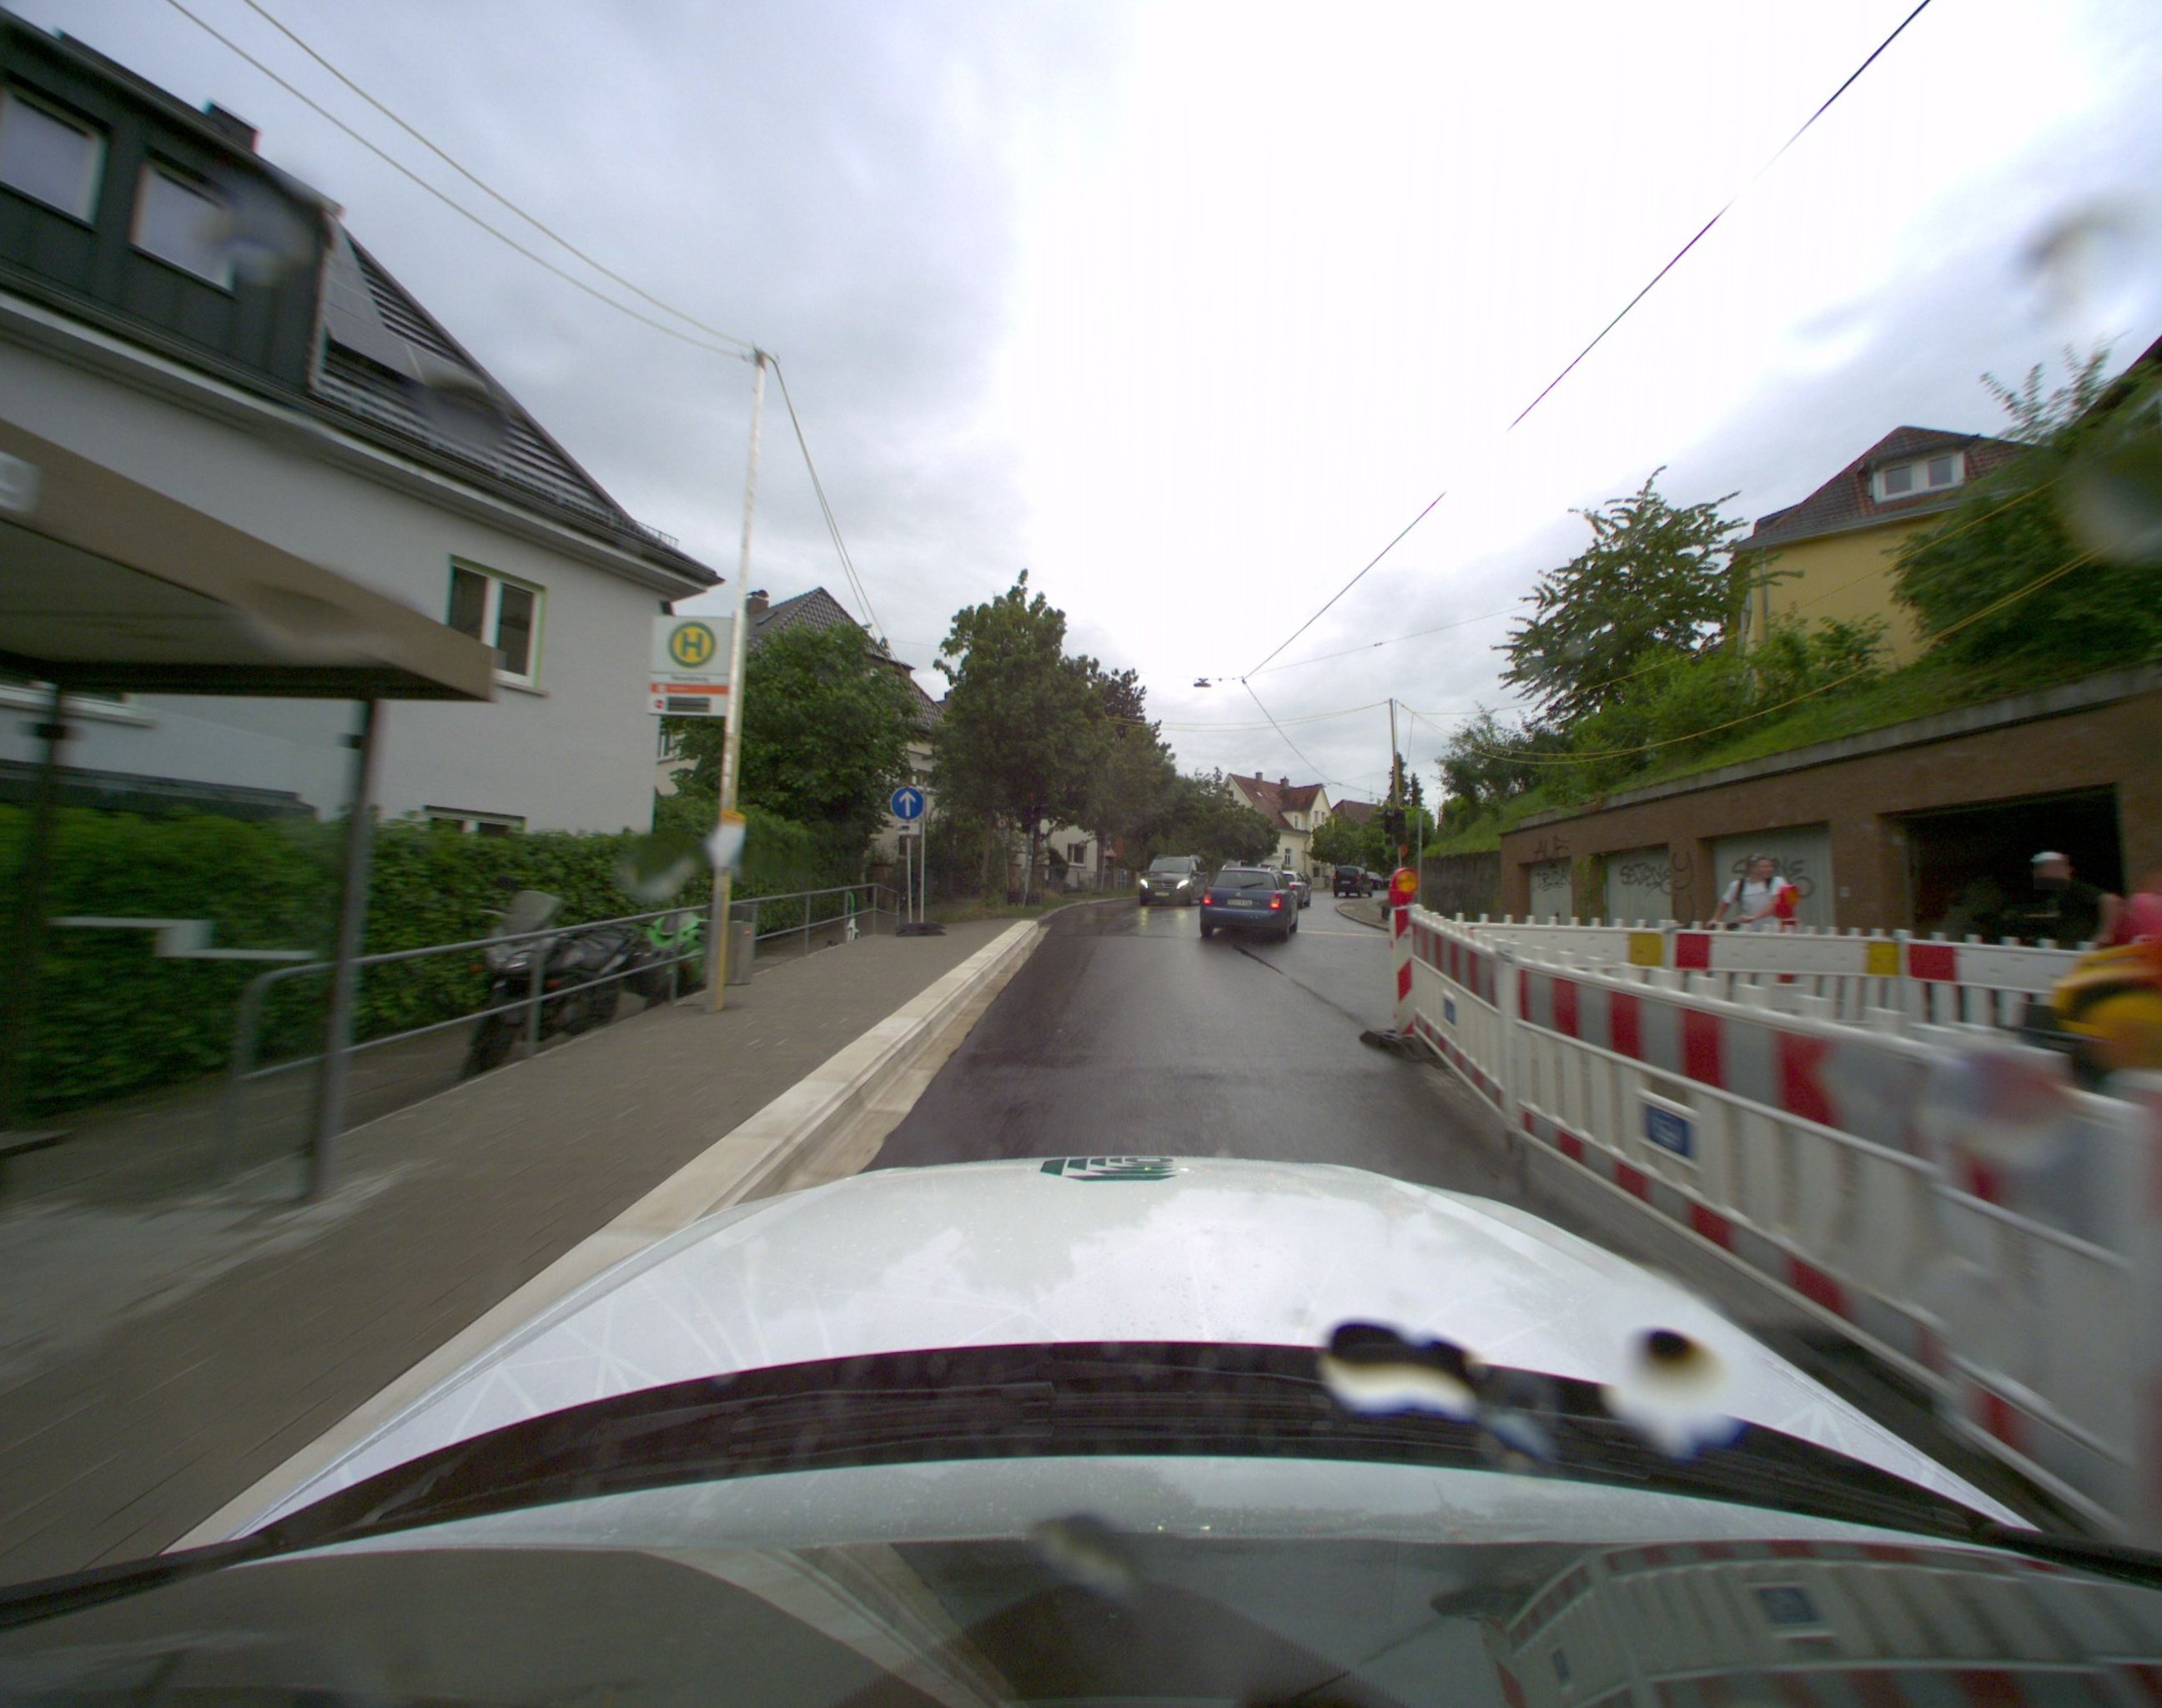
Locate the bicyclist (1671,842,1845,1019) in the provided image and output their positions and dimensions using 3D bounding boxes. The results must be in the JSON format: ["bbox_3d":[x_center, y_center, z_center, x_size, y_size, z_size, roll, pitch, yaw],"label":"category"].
[{"bbox_3d":[7.039,0.769,8.519,1.073,1.729,0.930,1,-2,-8],"label":"bicyclist"}]

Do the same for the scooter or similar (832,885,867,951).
[{"bbox_3d":[-4.060,1.096,14.323,0.323,1.081,1.095,-1,-1,-1],"label":"scooter or similar"}]

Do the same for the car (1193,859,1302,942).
[{"bbox_3d":[3.611,0.886,17.137,1.719,1.466,4.019,-2,0,19],"label":"car"}]

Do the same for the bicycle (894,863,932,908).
[{"bbox_3d":[-5.136,0.940,25.062,0.488,1.272,2.276,2,0,4],"label":"bicycle"}]

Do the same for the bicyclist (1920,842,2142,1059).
[{"bbox_3d":[8.306,0.783,7.203,1.063,1.729,0.939,0,-2,35],"label":"bicyclist"}]

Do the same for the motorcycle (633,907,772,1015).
[{"bbox_3d":[-4.120,1.124,9.053,0.665,0.934,2.008,-1,0,-2],"label":"motorcycle"}]

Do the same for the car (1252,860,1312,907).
[{"bbox_3d":[8.102,1.133,32.577,1.959,1.635,4.255,-2,0,18],"label":"car"}]

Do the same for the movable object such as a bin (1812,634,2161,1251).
[{"bbox_3d":[5.989,0.411,2.742,2.079,2.838,5.678,1,0,1],"label":"movable object such as a bin"}]

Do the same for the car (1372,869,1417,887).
[{"bbox_3d":[27.101,2.099,70.434,4.229,1.545,1.719,2,-2,-38],"label":"car"}]

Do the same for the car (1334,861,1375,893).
[{"bbox_3d":[16.668,1.375,49.537,1.717,1.769,4.260,-2,0,27],"label":"car"}]

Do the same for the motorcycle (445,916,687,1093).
[{"bbox_3d":[-4.026,1.106,6.617,0.665,1.036,2.150,-1,0,-2],"label":"motorcycle"}]

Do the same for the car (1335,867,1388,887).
[{"bbox_3d":[23.193,1.897,67.264,4.930,1.545,1.851,2,-2,-41],"label":"car"}]

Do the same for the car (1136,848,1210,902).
[{"bbox_3d":[3.627,0.821,31.228,1.882,1.890,5.175,-1,-2,17],"label":"car"}]

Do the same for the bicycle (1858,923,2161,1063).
[{"bbox_3d":[8.237,1.168,7.230,1.806,0.981,0.939,0,-2,35],"label":"bicycle"}]

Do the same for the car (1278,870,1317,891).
[{"bbox_3d":[15.751,1.959,59.161,1.654,1.466,3.919,-2,-2,32],"label":"car"}]

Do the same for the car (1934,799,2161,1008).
[{"bbox_3d":[12.407,0.595,8.821,4.362,2.015,1.813,1,-6,-1],"label":"car"}]

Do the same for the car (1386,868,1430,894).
[{"bbox_3d":[23.728,1.927,59.021,1.717,1.769,4.261,0,-1,40],"label":"car"}]

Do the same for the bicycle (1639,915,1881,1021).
[{"bbox_3d":[7.037,1.162,8.500,1.877,0.981,0.930,1,-2,-8],"label":"bicycle"}]
